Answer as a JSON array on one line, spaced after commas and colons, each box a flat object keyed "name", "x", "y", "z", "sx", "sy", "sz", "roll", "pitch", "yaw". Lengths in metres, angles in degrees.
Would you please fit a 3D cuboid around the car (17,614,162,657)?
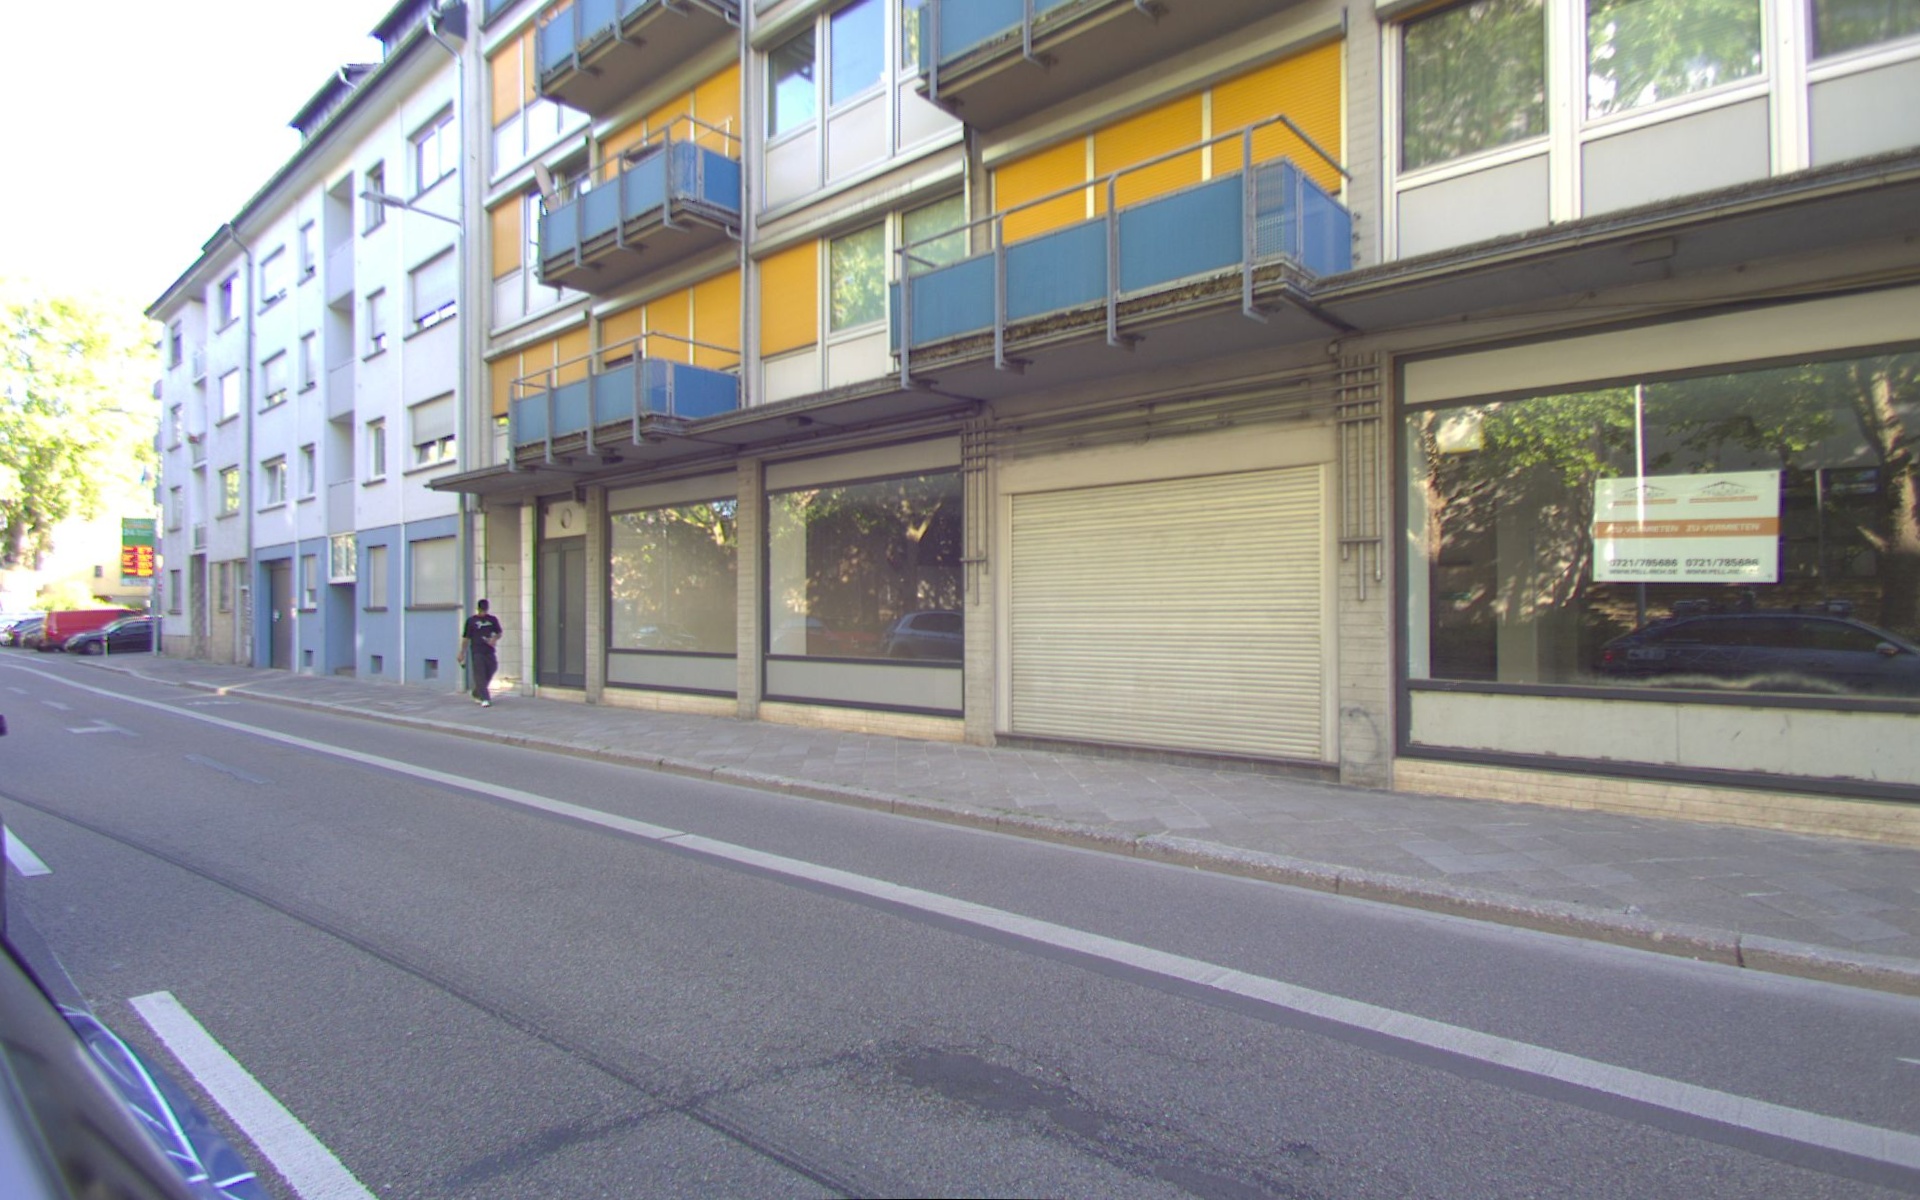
[{"name": "car", "x": -42.695, "y": 1.695, "z": 49.726, "sx": 2.256, "sy": 1.995, "sz": 5.156, "roll": -1, "pitch": -1, "yaw": 41}]

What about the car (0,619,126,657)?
[{"name": "car", "x": -50.302, "y": 2.081, "z": 56.842, "sx": 2.186, "sy": 1.952, "sz": 5.077, "roll": -1, "pitch": -1, "yaw": 41}]

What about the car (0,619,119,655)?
[{"name": "car", "x": -52.241, "y": 2.104, "z": 58.730, "sx": 2.159, "sy": 1.952, "sz": 4.990, "roll": -1, "pitch": -1, "yaw": 41}]

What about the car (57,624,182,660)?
[{"name": "car", "x": -36.557, "y": 1.782, "z": 44.089, "sx": 1.742, "sy": 1.431, "sz": 3.946, "roll": -1, "pitch": -1, "yaw": 41}]

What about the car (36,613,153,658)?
[{"name": "car", "x": -40.594, "y": 1.628, "z": 47.528, "sx": 1.866, "sy": 1.952, "sz": 3.946, "roll": -1, "pitch": -1, "yaw": 41}]

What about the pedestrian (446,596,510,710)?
[{"name": "pedestrian", "x": -7.750, "y": 0.830, "z": 16.269, "sx": 0.793, "sy": 1.785, "sz": 0.654, "roll": -2, "pitch": -1, "yaw": 42}]

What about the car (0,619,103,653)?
[{"name": "car", "x": -55.974, "y": 2.153, "z": 61.999, "sx": 2.314, "sy": 1.952, "sz": 4.978, "roll": -1, "pitch": -1, "yaw": 41}]

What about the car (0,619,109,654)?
[{"name": "car", "x": -54.127, "y": 2.125, "z": 60.367, "sx": 2.082, "sy": 1.952, "sz": 4.928, "roll": -1, "pitch": -1, "yaw": 41}]

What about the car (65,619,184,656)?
[{"name": "car", "x": -37.881, "y": 1.673, "z": 45.954, "sx": 1.742, "sy": 1.572, "sz": 3.946, "roll": -1, "pitch": -1, "yaw": 41}]

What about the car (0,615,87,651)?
[{"name": "car", "x": -59.348, "y": 2.092, "z": 64.725, "sx": 2.186, "sy": 2.164, "sz": 5.077, "roll": -1, "pitch": -1, "yaw": 41}]
